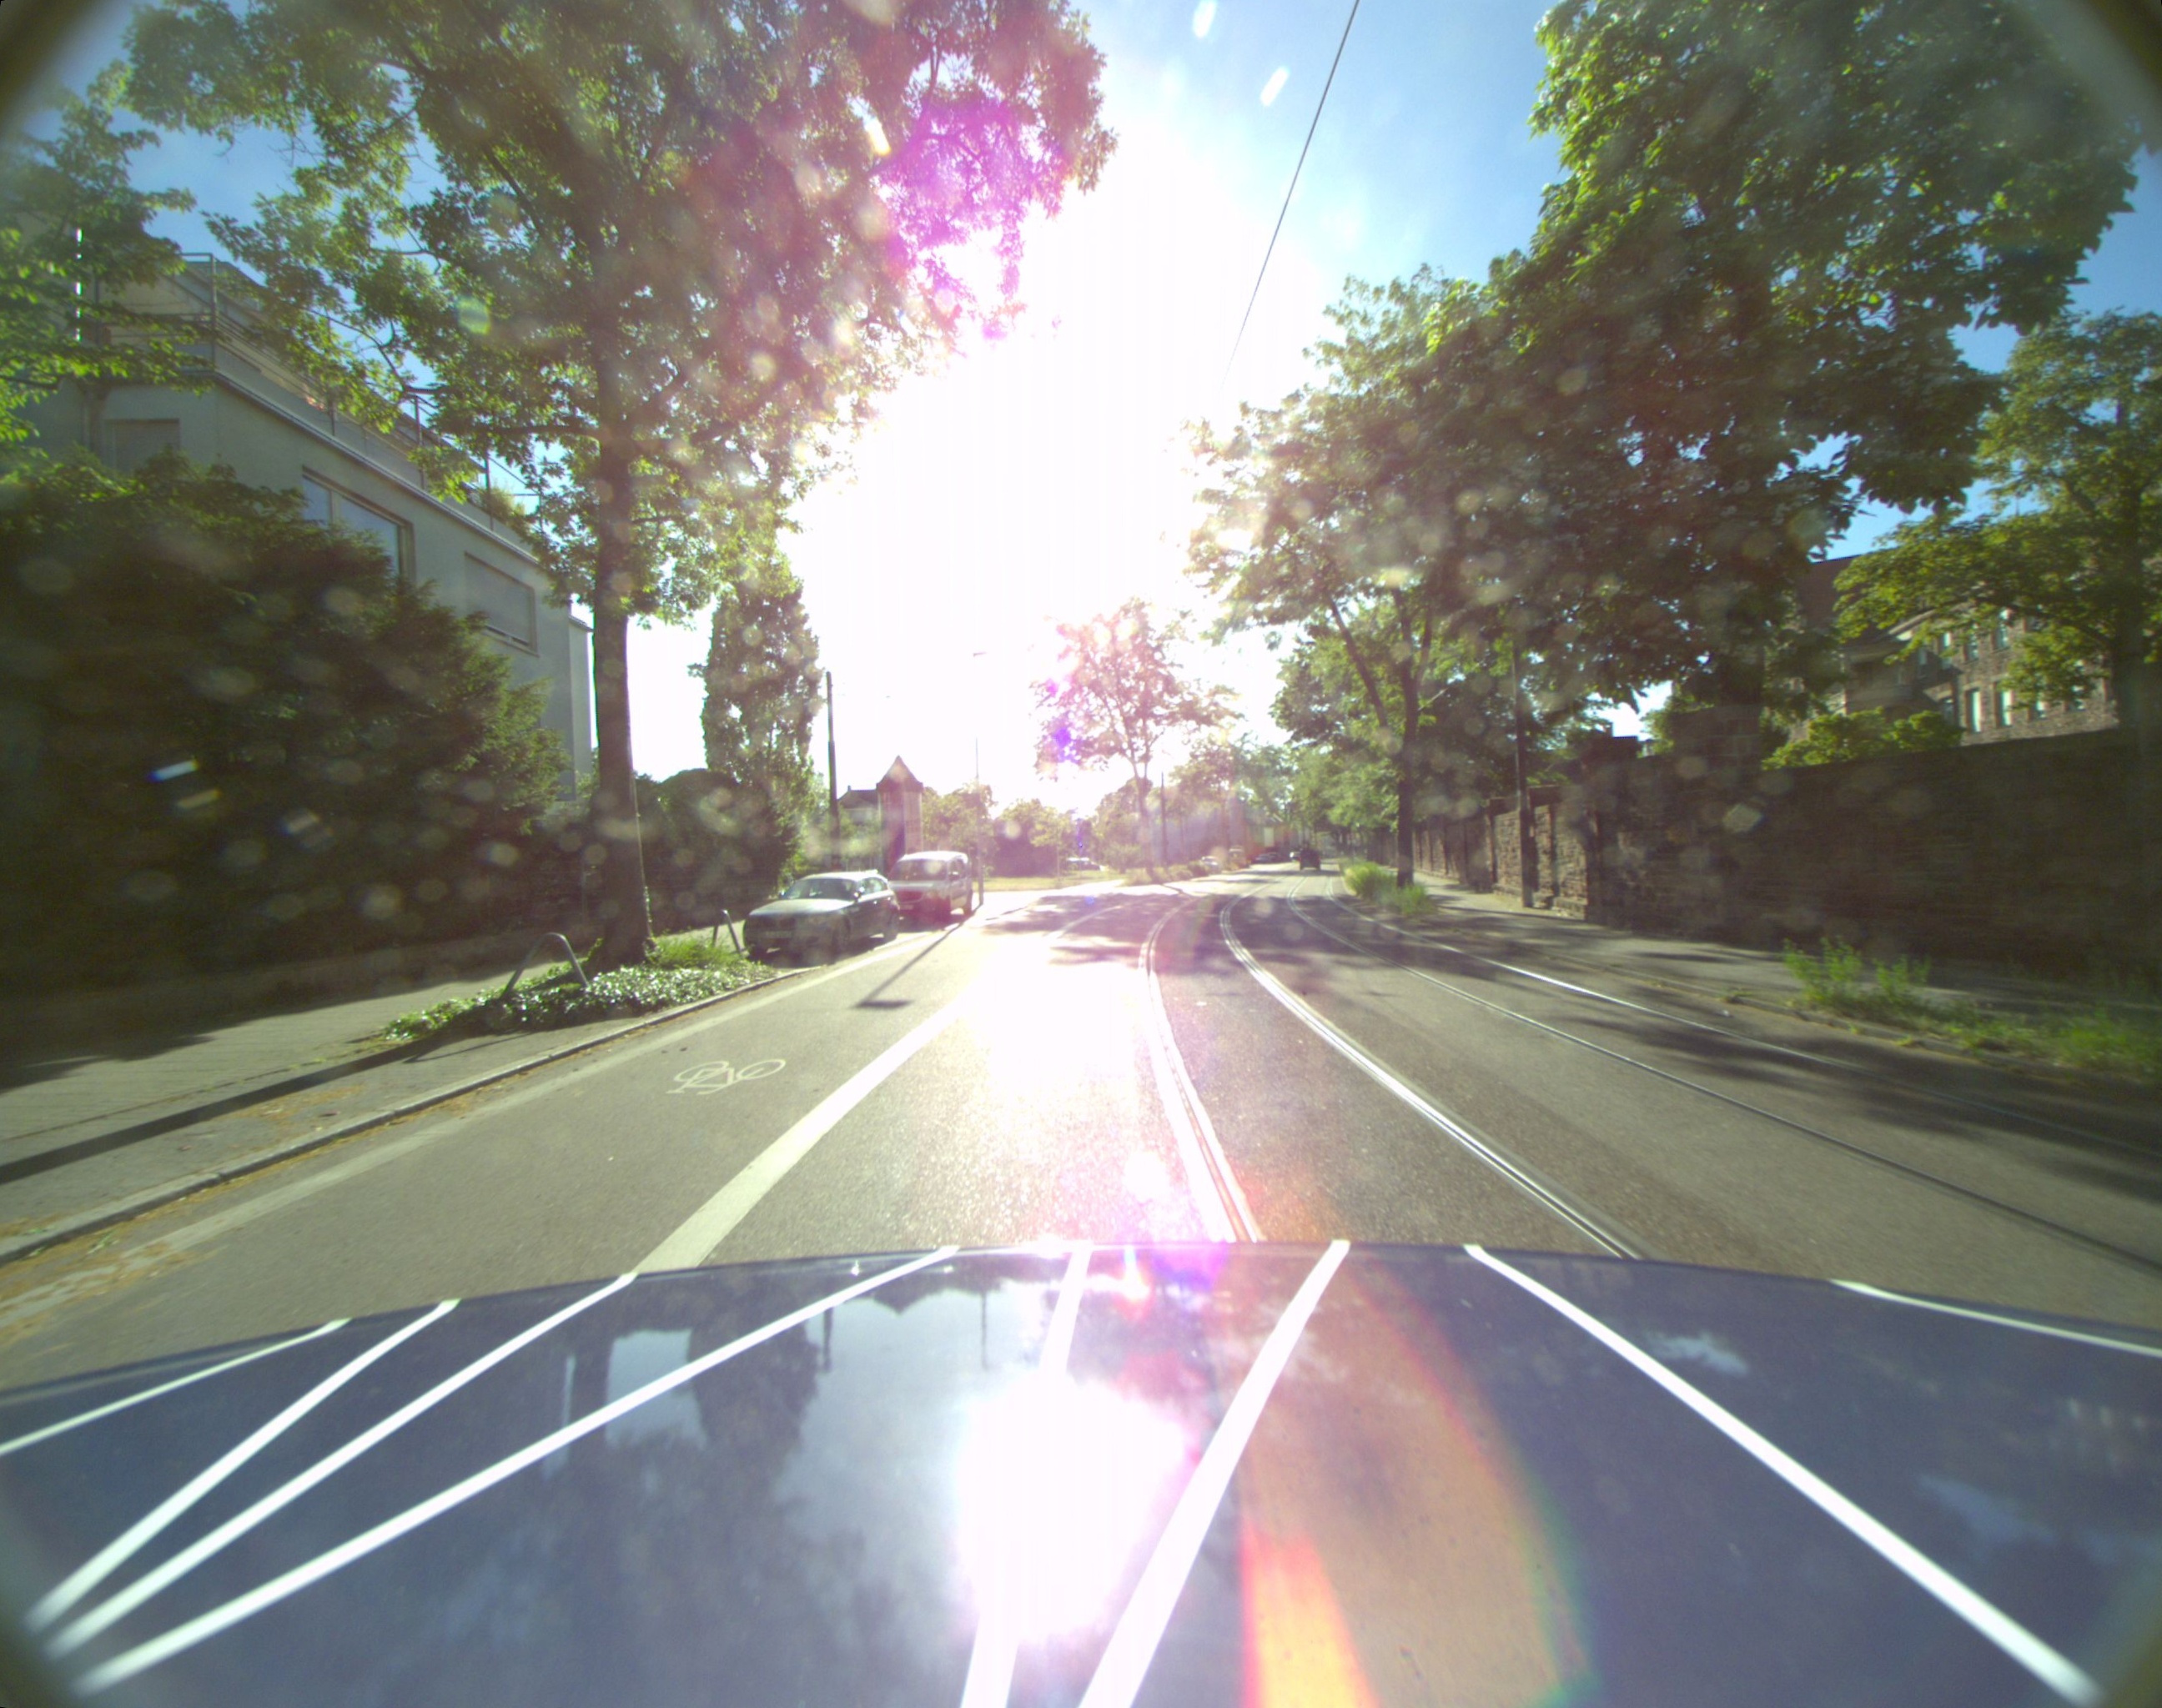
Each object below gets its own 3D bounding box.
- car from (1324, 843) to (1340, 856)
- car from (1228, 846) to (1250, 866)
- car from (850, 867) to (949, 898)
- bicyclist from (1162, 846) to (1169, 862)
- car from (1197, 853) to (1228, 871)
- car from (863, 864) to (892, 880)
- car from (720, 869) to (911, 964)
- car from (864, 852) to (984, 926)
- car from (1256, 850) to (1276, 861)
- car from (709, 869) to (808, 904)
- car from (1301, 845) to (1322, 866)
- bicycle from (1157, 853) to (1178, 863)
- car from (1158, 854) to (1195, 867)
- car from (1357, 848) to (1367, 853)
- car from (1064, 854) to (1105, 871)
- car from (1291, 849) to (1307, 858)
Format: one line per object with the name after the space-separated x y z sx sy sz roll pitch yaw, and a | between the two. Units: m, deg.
54.177 -1.030 164.030 2.293 2.574 5.728 -2 0 28 | car
17.895 0.203 86.033 1.996 2.083 4.722 -2 0 17 | car
-9.218 1.432 38.928 4.521 1.361 1.969 -2 0 1 | car
11.142 -0.022 100.677 0.849 2.001 0.827 -2 -1 6 | bicyclist
11.913 0.719 68.694 2.003 1.457 5.439 2 1 17 | car
-24.376 2.147 91.098 1.998 1.786 4.001 -2 0 5 | car
-4.940 1.100 14.914 1.998 1.414 4.333 -2 1 3 | car
-4.129 0.865 20.867 2.027 1.736 4.753 -2 0 3 | car
27.984 0.241 114.953 1.739 1.487 4.537 -2 0 28 | car
-16.653 1.654 39.311 4.289 1.502 1.840 -2 3 7 | car
20.678 0.093 68.178 1.635 1.782 4.343 -2 0 17 | car
11.494 0.573 100.619 2.661 1.224 0.800 -2 0 3 | bicycle
12.352 0.848 98.387 4.459 1.482 2.008 -2 4 1 | car
75.551 -0.929 204.234 1.785 1.368 3.661 -2 0 28 | car
0.459 1.041 98.141 5.209 1.874 2.100 -3 0 1 | car
38.919 -0.147 135.466 1.877 1.509 4.657 -2 0 26 | car
